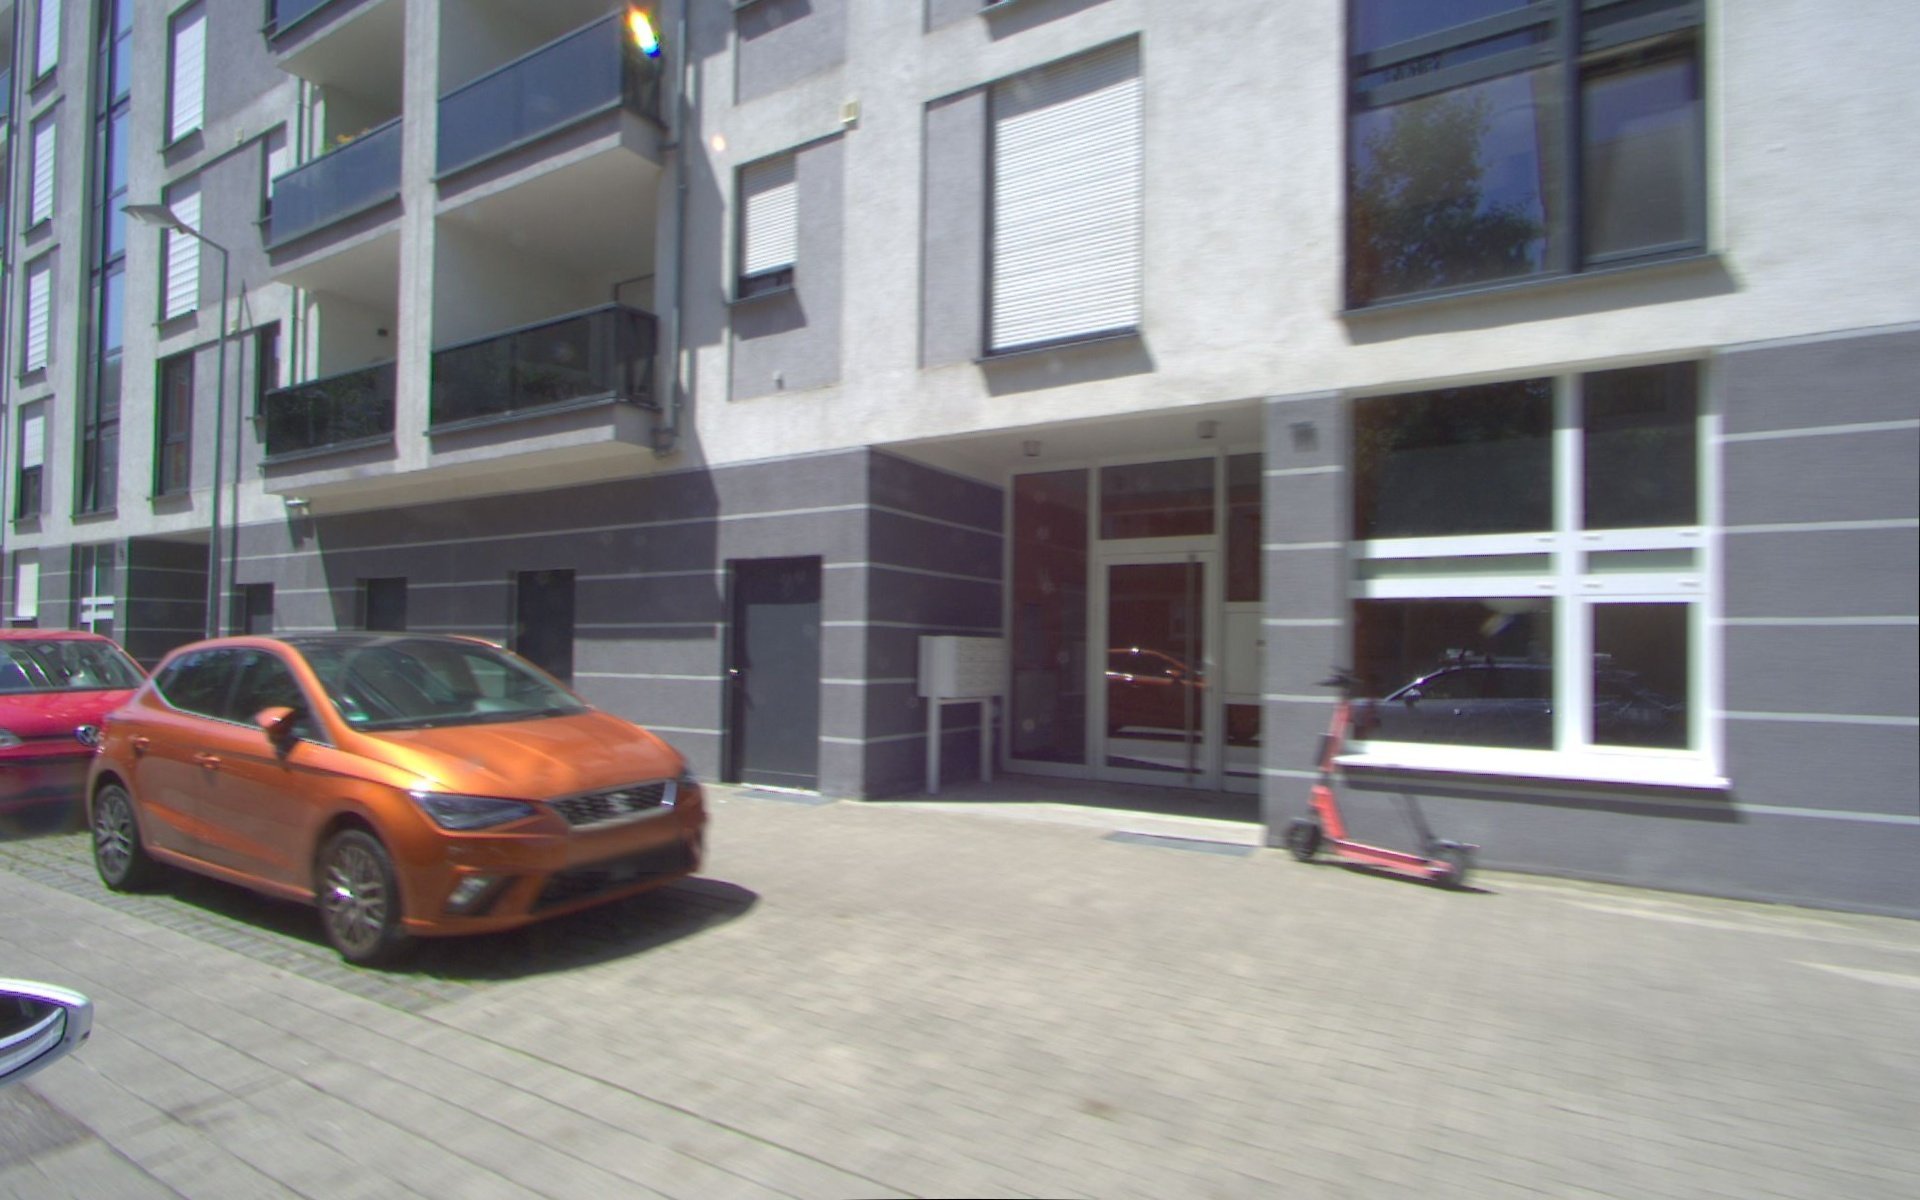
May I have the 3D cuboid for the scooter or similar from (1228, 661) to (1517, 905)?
[{"bbox_3d":[2.426,1.011,6.014,0.542,1.241,1.515,3,-3,-43],"label":"scooter or similar"}]

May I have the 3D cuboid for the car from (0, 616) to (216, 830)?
[{"bbox_3d":[-8.020,0.889,8.463,3.623,1.505,1.592,-1,-1,32],"label":"car"}]

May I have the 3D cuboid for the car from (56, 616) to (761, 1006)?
[{"bbox_3d":[-3.292,0.858,5.737,4.197,1.506,1.734,-1,-1,32],"label":"car"}]
